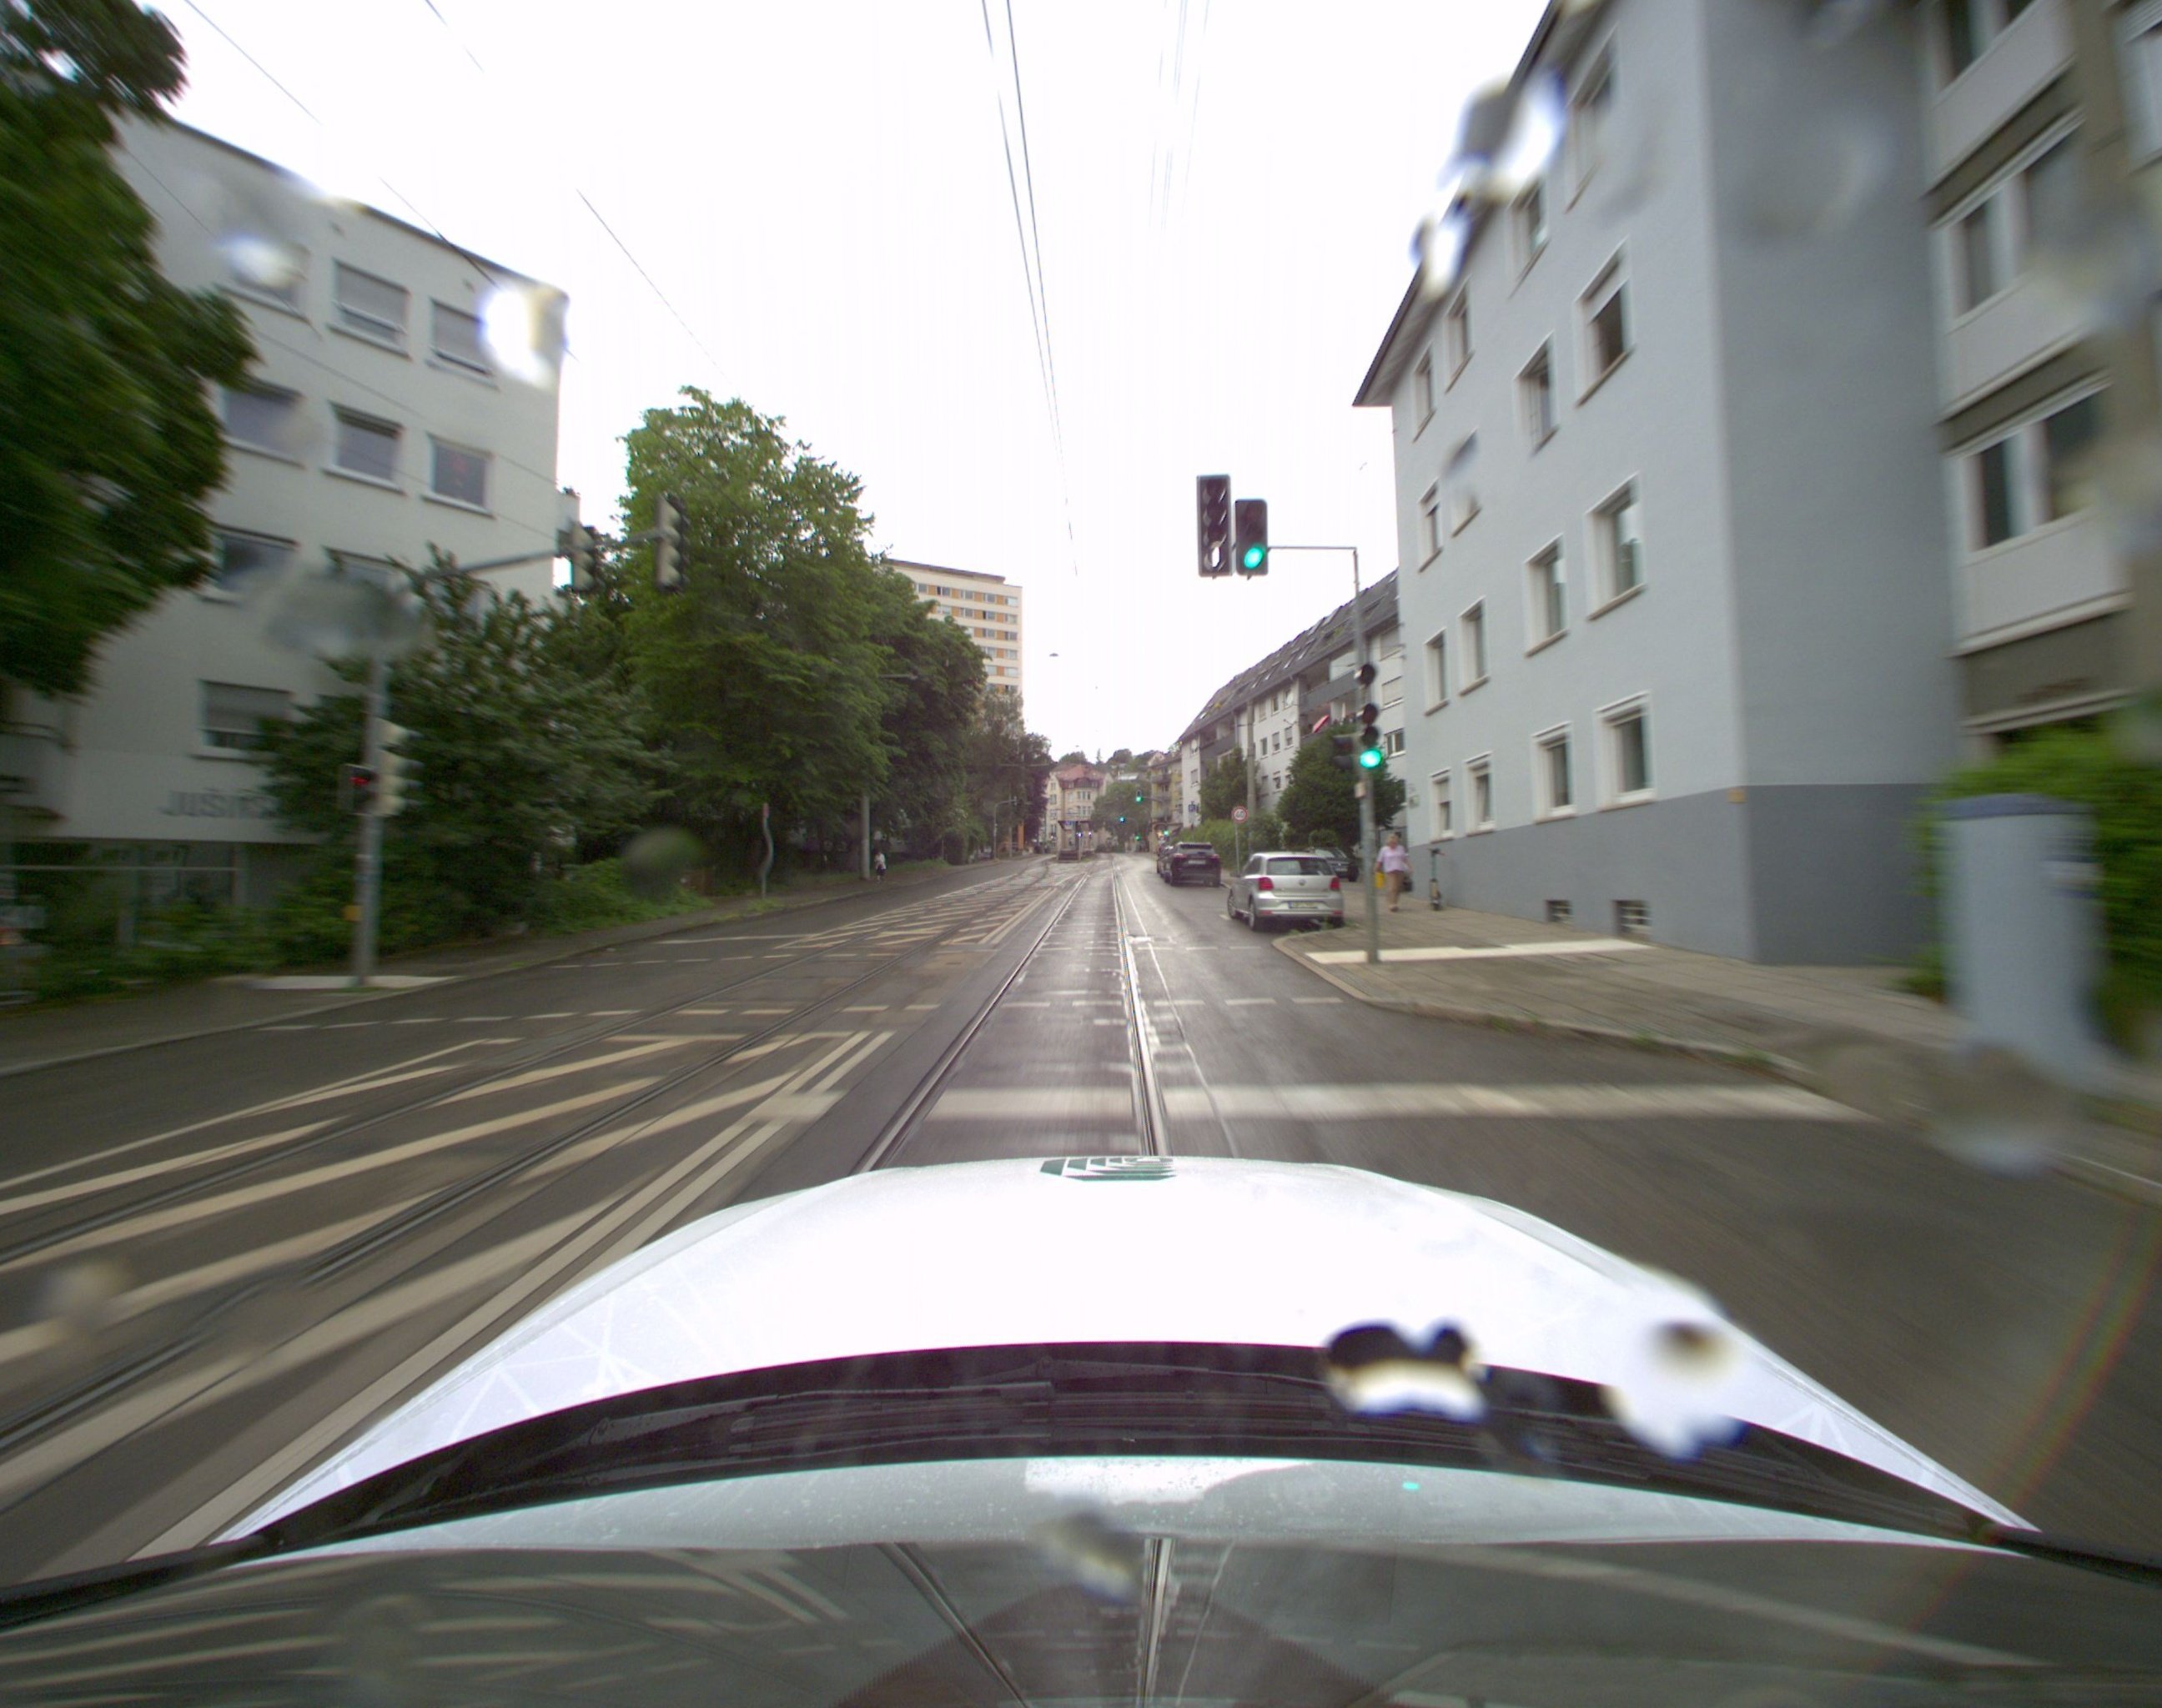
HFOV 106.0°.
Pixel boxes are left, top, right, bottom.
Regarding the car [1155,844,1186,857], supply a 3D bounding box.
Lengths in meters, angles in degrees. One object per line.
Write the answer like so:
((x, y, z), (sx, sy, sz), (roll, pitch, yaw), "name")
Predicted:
((11.992, -0.414, 109.295), (3.973, 1.646, 1.808), (0, -2, 1), "car")

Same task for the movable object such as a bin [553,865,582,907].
((-15.537, 0.980, 24.647), (0.630, 1.234, 0.619), (3, -5, -40), "movable object such as a bin")

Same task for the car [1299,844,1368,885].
((10.689, 0.505, 34.750), (1.714, 1.515, 4.204), (0, -4, 1), "car")

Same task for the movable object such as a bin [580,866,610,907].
((-15.004, 1.013, 25.157), (0.670, 1.234, 0.619), (3, -5, -40), "movable object such as a bin")

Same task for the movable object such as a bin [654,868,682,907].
((-13.448, 1.101, 26.521), (0.670, 1.234, 0.619), (3, -5, -40), "movable object such as a bin")

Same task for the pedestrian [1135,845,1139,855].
((9.266, -0.665, 135.659), (0.577, 1.467, 0.542), (1, -4, -6), "pedestrian")

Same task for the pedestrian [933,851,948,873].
((-11.255, 0.658, 65.275), (0.907, 1.678, 0.745), (-2, -4, 27), "pedestrian")

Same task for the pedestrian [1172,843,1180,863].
((7.770, -0.069, 66.563), (0.641, 1.629, 0.700), (-1, -2, 6), "pedestrian")

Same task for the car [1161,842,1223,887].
((4.377, 0.401, 32.723), (1.899, 1.642, 4.690), (1, 0, 1), "car")

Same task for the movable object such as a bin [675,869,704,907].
((-12.987, 1.132, 27.013), (0.670, 1.234, 0.619), (3, -5, -40), "movable object such as a bin")

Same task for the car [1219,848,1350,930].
((3.954, 0.625, 16.462), (1.698, 1.433, 4.102), (1, 0, 1), "car")

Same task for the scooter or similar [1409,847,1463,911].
((7.355, 0.490, 16.928), (0.571, 1.249, 1.613), (-1, 1, 7), "scooter or similar")

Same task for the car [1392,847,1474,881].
((15.292, 0.445, 35.669), (1.770, 1.378, 4.431), (0, 0, 1), "car")

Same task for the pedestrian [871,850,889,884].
((-9.484, 0.616, 38.402), (0.581, 1.600, 0.868), (2, -1, -2), "pedestrian")

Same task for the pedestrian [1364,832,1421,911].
((6.540, 0.355, 17.133), (0.878, 1.583, 0.802), (-2, 1, 3), "pedestrian")

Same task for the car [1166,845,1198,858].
((13.073, -0.310, 105.555), (3.829, 1.543, 1.807), (0, -2, 0), "car")

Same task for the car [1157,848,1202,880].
((4.624, 0.468, 38.631), (1.698, 1.428, 4.251), (1, 0, 1), "car")

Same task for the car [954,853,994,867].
((-11.668, 0.643, 88.884), (3.951, 1.406, 1.692), (-2, -4, 24), "car")
